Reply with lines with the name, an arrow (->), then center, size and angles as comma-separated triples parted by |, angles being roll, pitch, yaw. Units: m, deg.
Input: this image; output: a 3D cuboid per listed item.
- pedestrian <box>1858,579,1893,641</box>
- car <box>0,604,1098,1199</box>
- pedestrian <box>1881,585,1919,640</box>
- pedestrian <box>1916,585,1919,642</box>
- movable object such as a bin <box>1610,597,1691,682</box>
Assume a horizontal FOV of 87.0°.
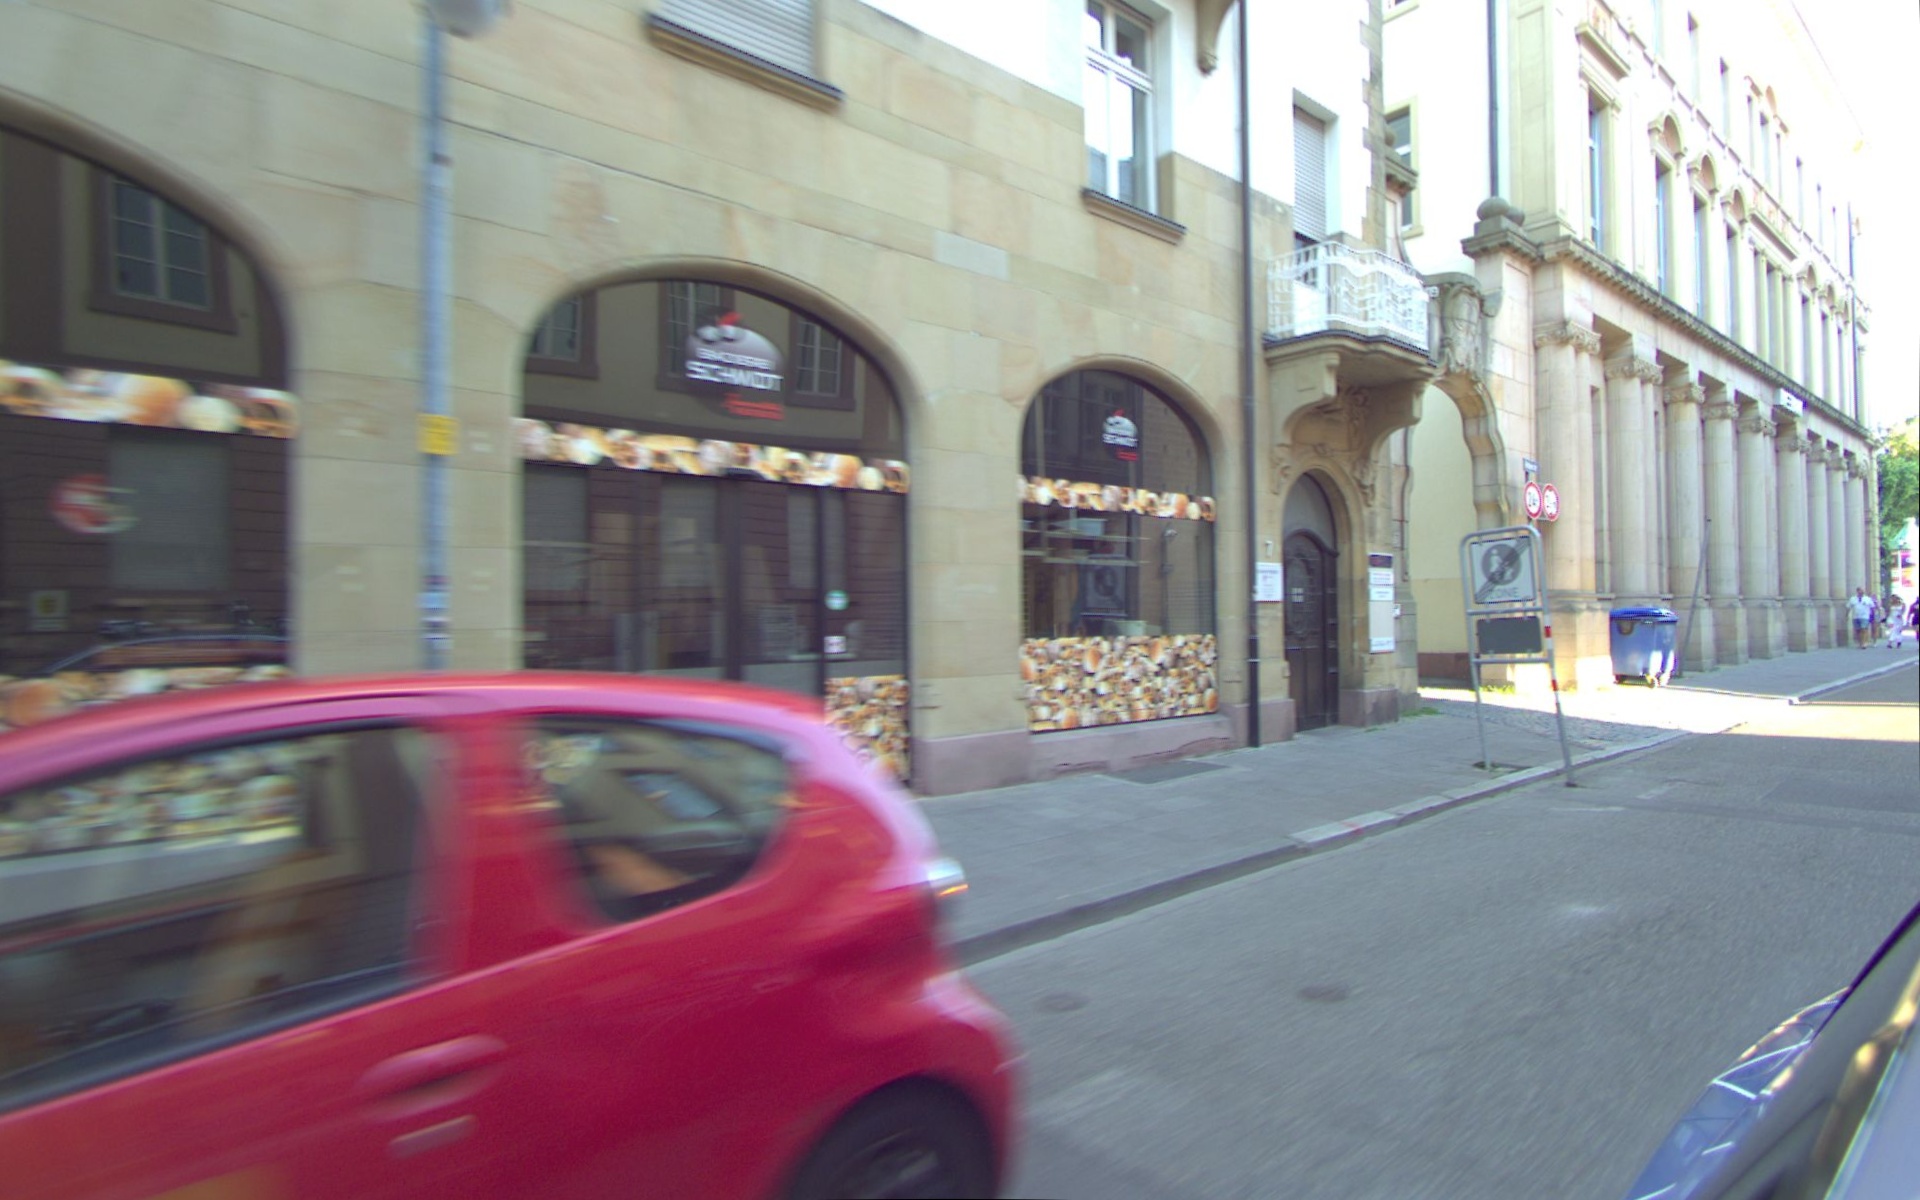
pedestrian -> 27.509, 0.291, 30.408 | 0.745, 1.801, 0.648 | 0, 2, -43
car -> -1.580, 0.811, 1.906 | 3.533, 1.444, 1.616 | -1, -5, -39
pedestrian -> 28.849, 0.372, 30.964 | 0.908, 1.618, 0.855 | 0, 2, -43
pedestrian -> 28.352, 0.400, 29.474 | 0.745, 1.673, 0.648 | 0, 2, -43
movable object such as a bin -> 11.996, 0.660, 17.575 | 1.118, 1.392, 0.898 | 0, 2, -42
